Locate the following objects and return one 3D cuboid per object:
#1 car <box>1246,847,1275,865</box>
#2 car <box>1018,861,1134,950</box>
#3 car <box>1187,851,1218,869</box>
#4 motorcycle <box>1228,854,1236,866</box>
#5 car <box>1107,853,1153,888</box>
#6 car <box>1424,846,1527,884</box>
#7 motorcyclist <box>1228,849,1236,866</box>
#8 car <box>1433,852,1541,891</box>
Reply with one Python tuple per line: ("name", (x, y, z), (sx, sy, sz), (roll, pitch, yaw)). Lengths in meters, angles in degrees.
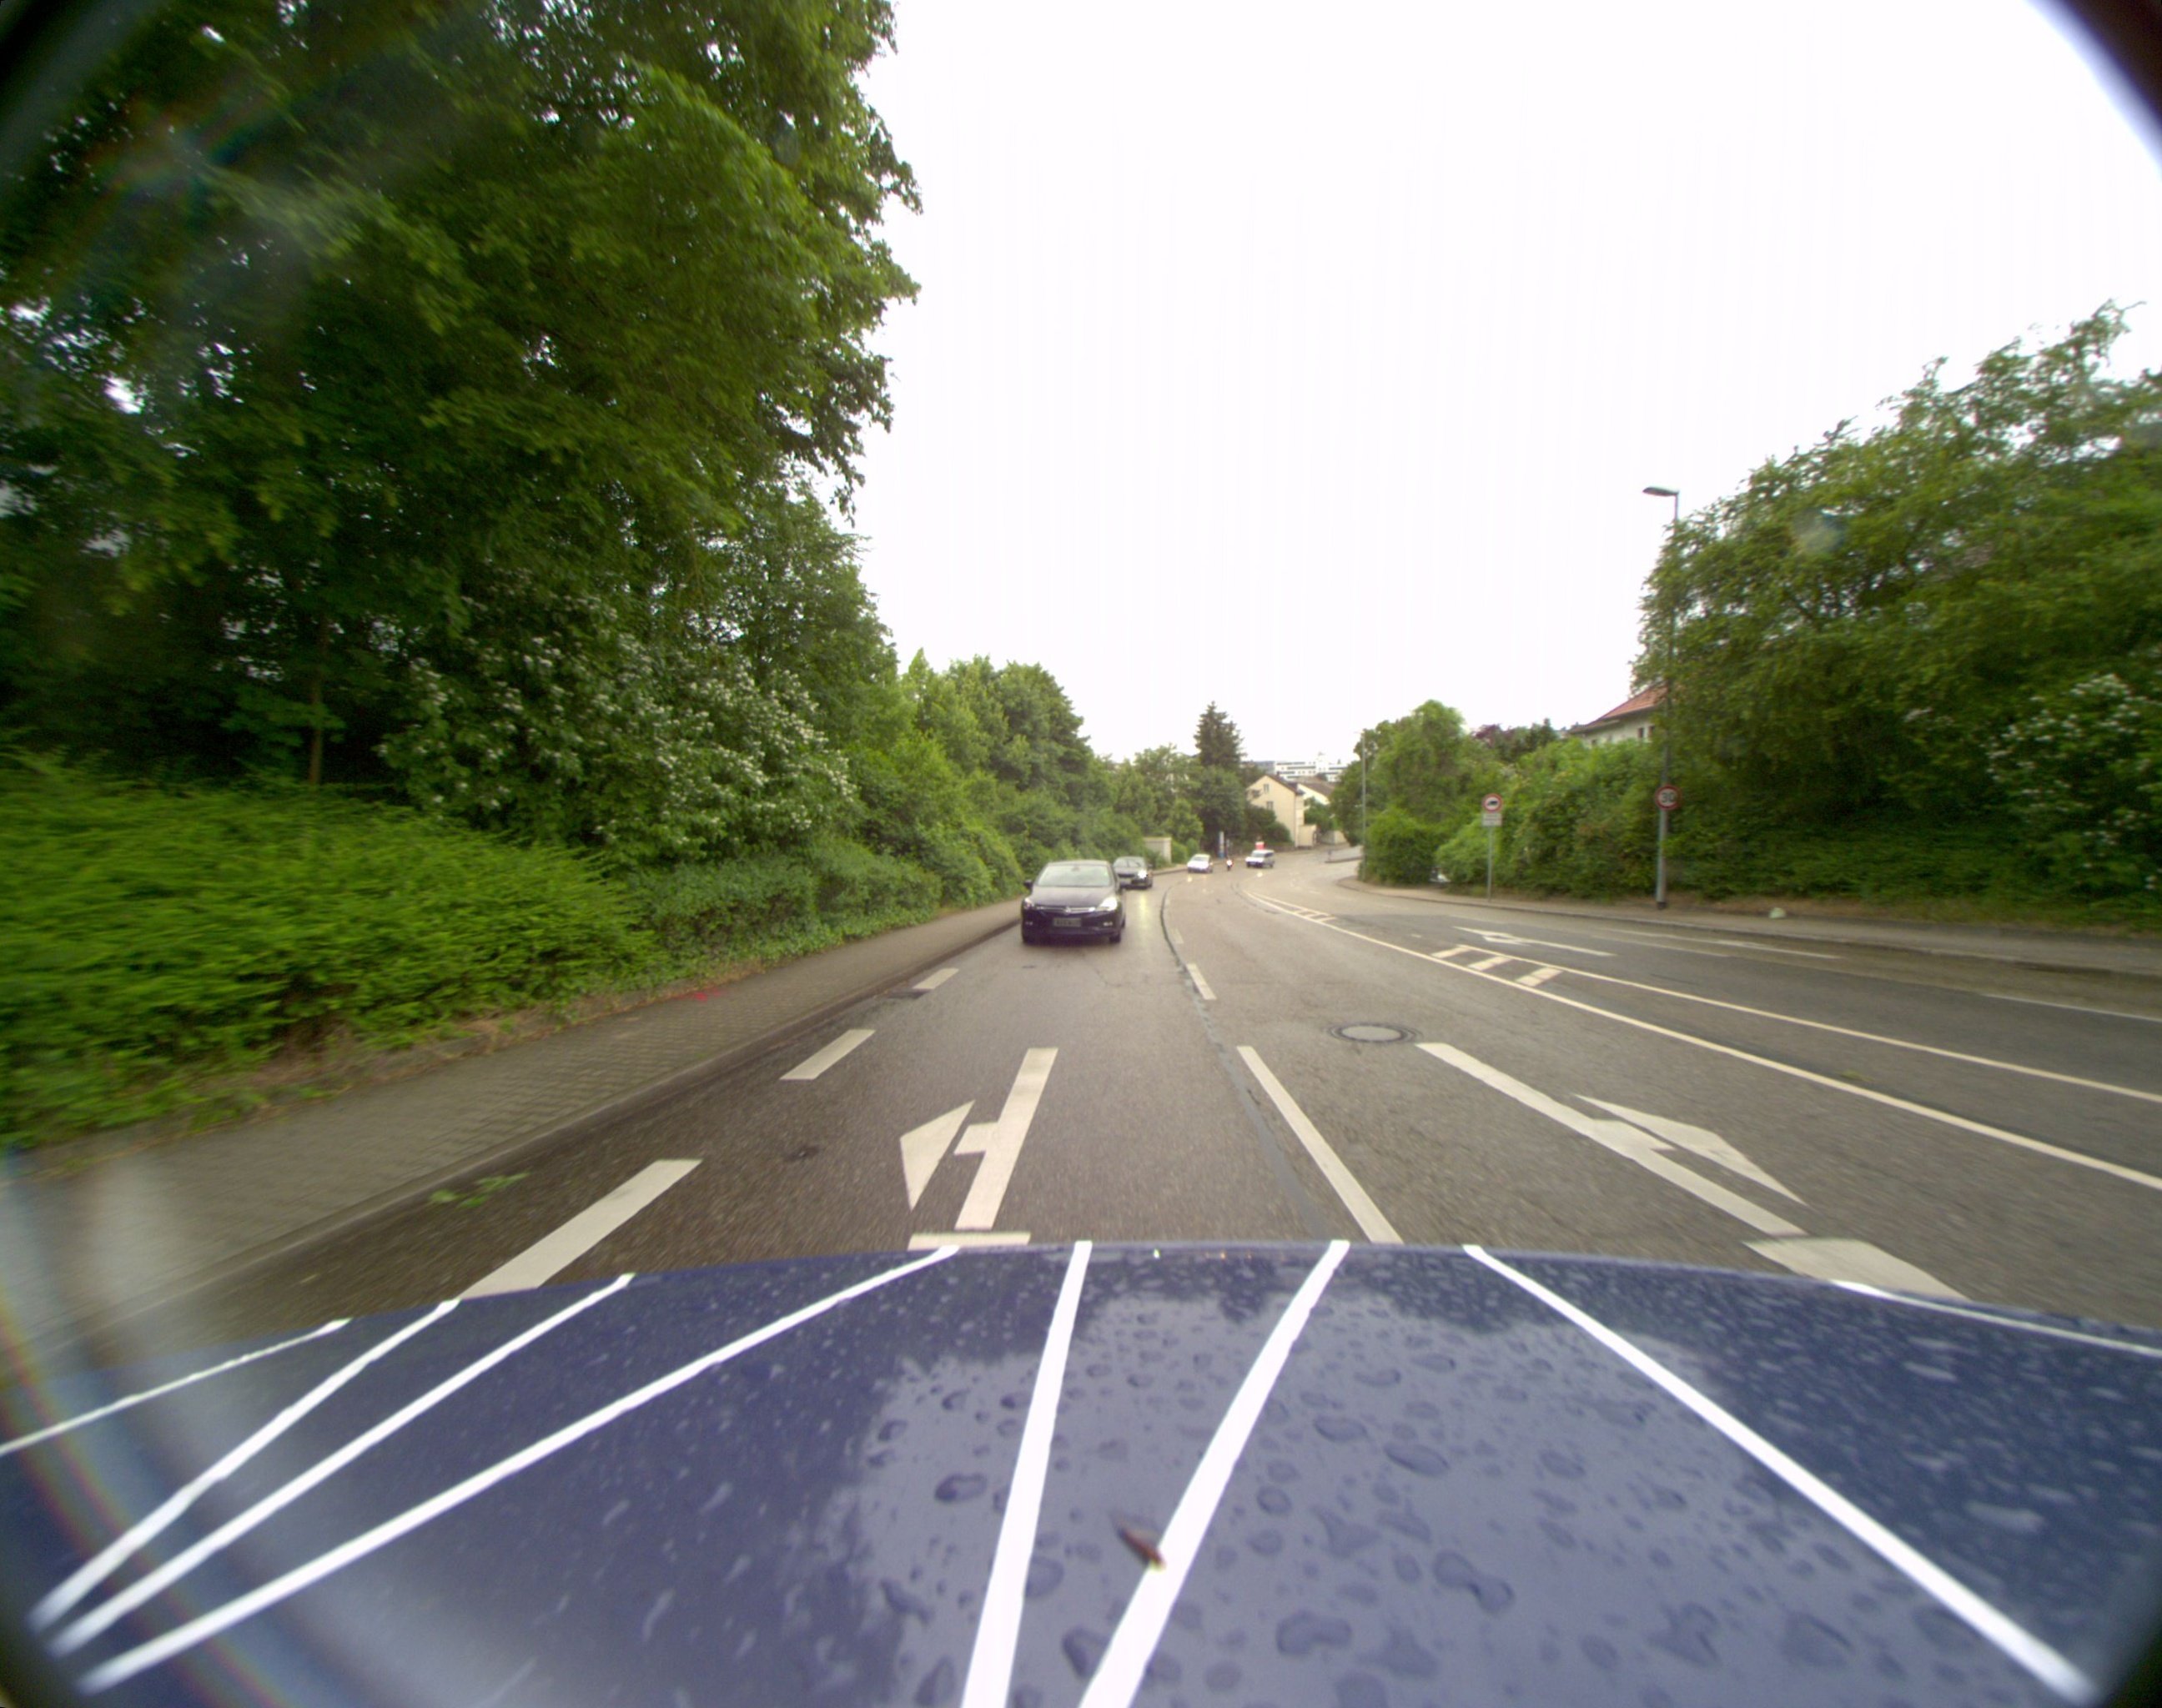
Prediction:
("car", (19.016, 0.197, 80.505), (1.773, 1.765, 4.008), (3, 1, 32))
("car", (0.043, 0.911, 15.271), (1.815, 1.434, 4.164), (1, 1, 7))
("car", (10.566, 0.493, 65.903), (1.814, 1.430, 4.006), (3, 1, 21))
("motorcycle", (14.196, 0.597, 71.498), (0.692, 1.047, 1.748), (2, 2, 12))
("car", (2.362, 0.713, 35.437), (1.871, 1.497, 4.199), (0, 1, 7))
("car", (19.376, 0.535, 37.495), (3.995, 1.527, 2.001), (-4, 0, 8))
("motorcyclist", (14.228, 0.313, 71.566), (0.766, 1.633, 0.675), (2, 2, 11))
("car", (18.495, 0.788, 34.785), (3.908, 1.432, 1.812), (-4, 0, 9))
